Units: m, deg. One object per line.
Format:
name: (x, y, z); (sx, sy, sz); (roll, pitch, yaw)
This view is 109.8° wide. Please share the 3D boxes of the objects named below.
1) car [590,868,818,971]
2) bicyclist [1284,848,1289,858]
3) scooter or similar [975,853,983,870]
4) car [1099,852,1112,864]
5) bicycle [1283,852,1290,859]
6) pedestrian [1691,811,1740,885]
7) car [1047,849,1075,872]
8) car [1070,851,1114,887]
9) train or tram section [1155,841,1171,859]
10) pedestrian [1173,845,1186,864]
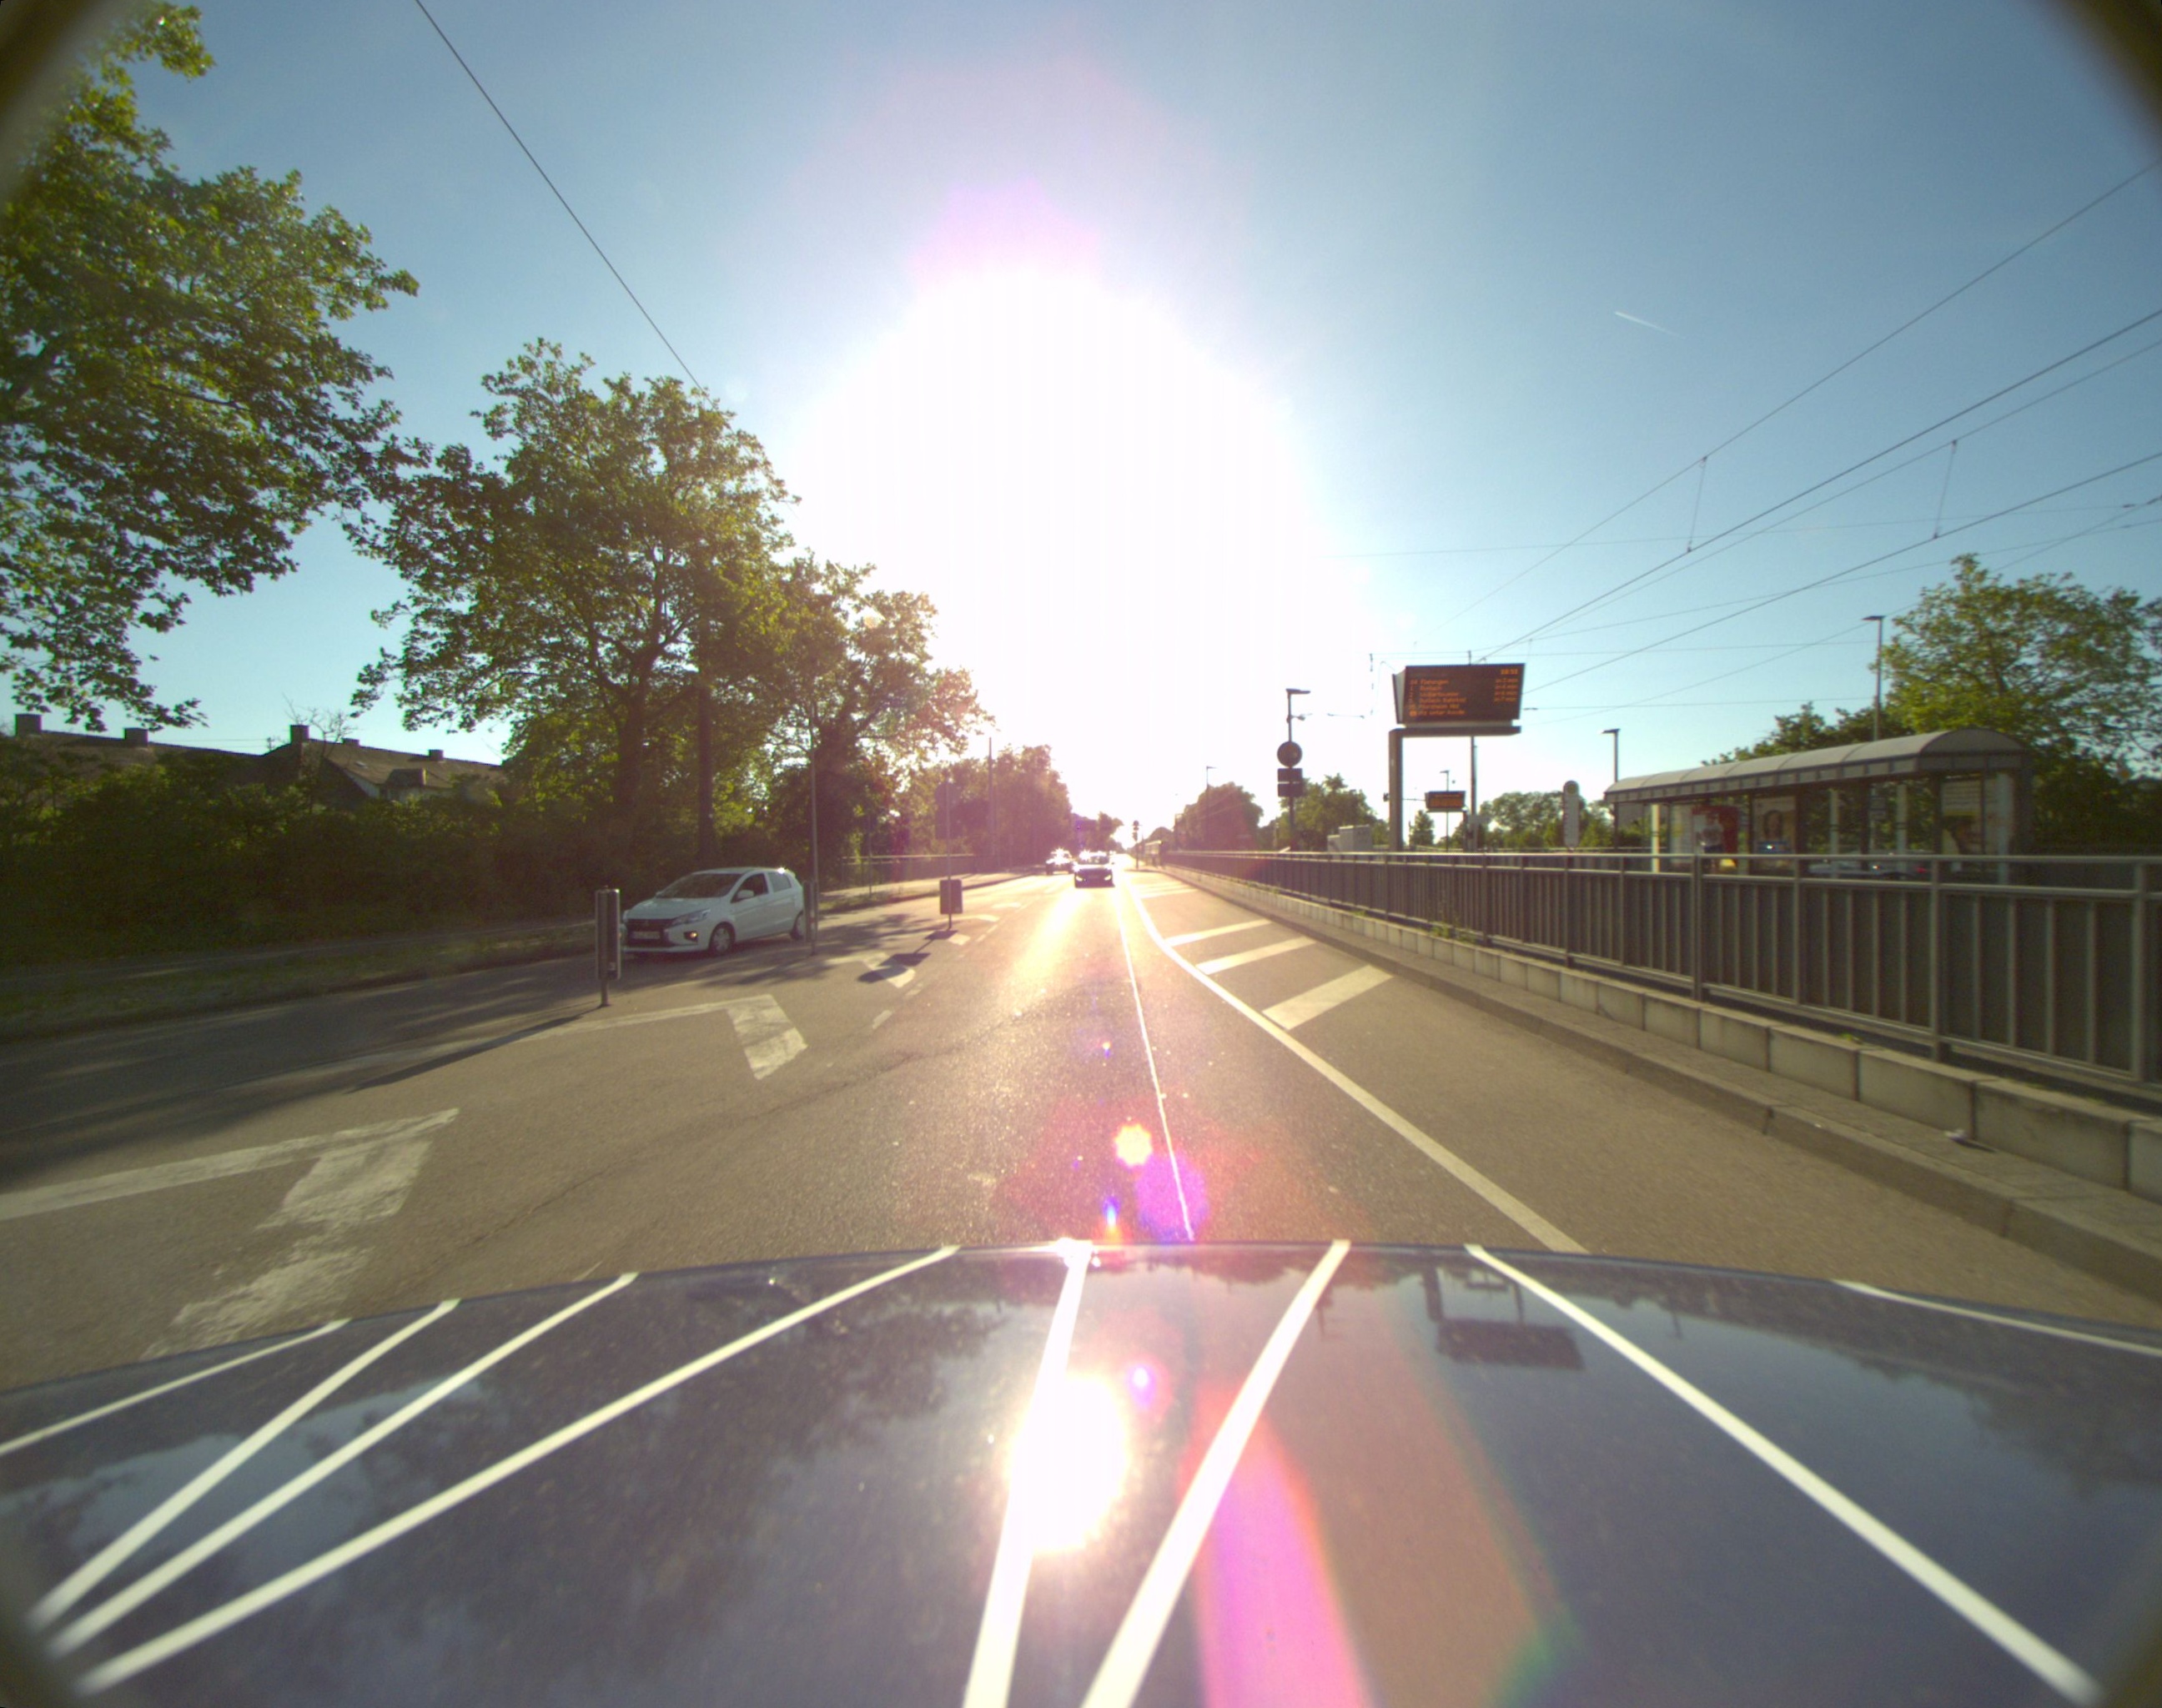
car: (-6.561, 1.074, 13.731); (1.669, 1.465, 3.747); (-2, 1, 12)
bicyclist: (35.133, -0.142, 129.907); (0.770, 1.608, 0.835); (-1, 1, 3)
scooter or similar: (-7.415, 0.545, 55.230); (0.427, 1.267, 1.083); (-1, 1, 3)
car: (3.360, 0.500, 103.860); (1.784, 1.586, 4.000); (-1, 0, 2)
bicycle: (35.128, 0.195, 129.989); (0.632, 1.121, 2.528); (-1, 1, 2)
pedestrian: (15.526, -0.150, 18.595); (0.589, 1.747, 0.700); (-2, 1, -19)
car: (-1.440, 0.462, 56.221); (1.824, 1.608, 4.000); (-1, 1, 1)
car: (0.548, 0.658, 34.361); (1.786, 1.529, 4.001); (0, 0, 4)
train or tram section: (18.773, -0.964, 174.234); (2.891, 3.924, 12.113); (-1, 1, 2)
pedestrian: (8.441, 0.015, 64.963); (0.892, 1.635, 0.986); (-1, 1, -6)
